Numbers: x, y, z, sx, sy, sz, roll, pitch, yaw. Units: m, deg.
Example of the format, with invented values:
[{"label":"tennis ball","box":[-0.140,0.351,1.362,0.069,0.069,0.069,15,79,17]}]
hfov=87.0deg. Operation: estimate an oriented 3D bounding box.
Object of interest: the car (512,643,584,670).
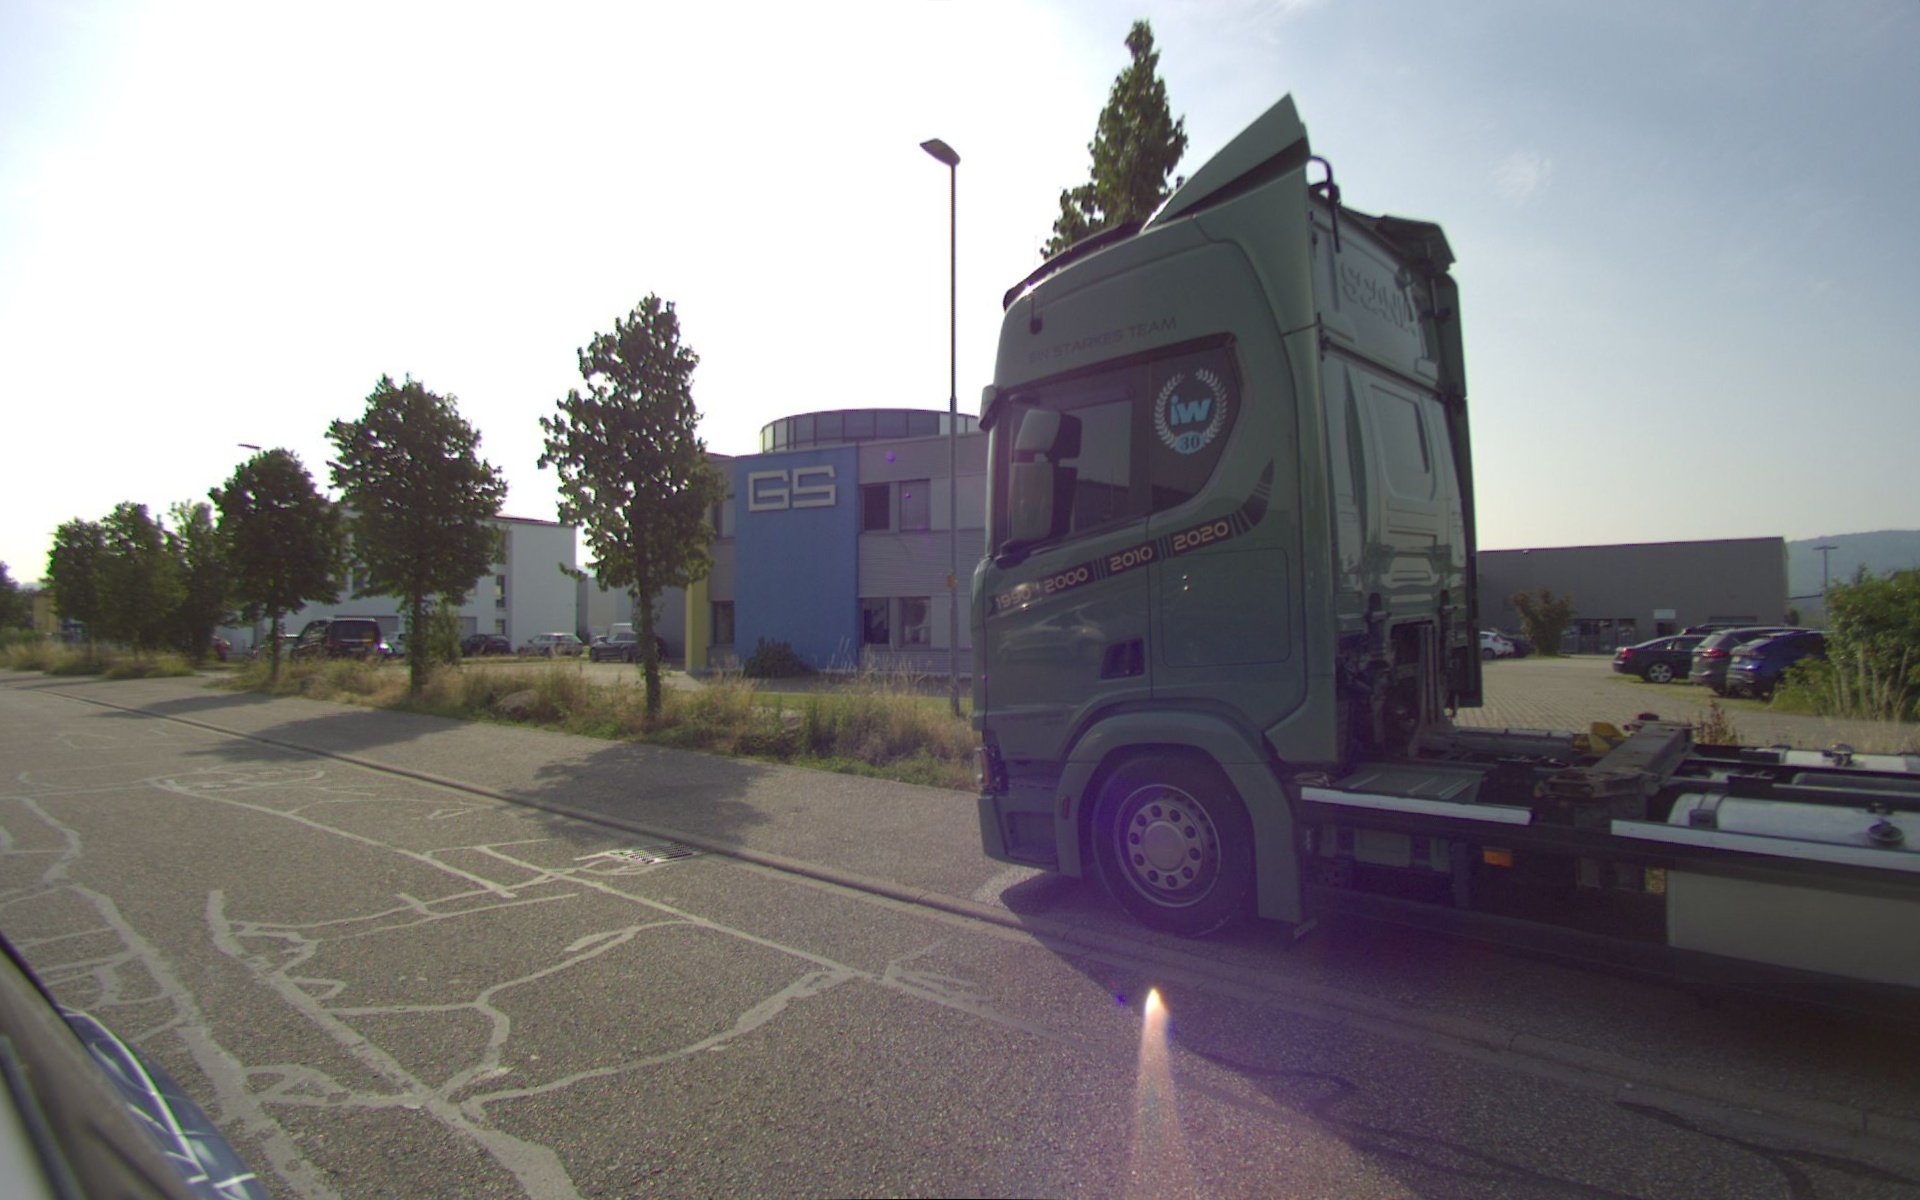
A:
[{"label":"car","box":[-22.542,3.059,55.337,4.375,1.383,1.716,-2,-3,37]}]

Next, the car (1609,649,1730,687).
[{"label":"car","box":[20.020,1.893,28.664,2.705,1.002,1.078,-1,-3,32]}]

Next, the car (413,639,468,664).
[{"label":"car","box":[-32.027,3.186,62.361,3.917,1.479,1.736,-3,-3,42]}]

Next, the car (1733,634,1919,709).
[{"label":"car","box":[17.258,1.379,20.056,2.842,1.399,1.182,-1,-2,24]}]

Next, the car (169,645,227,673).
[{"label":"car","box":[-40.150,3.081,53.306,3.917,1.420,1.736,-3,-3,42]}]

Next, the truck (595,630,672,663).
[{"label":"truck","box":[-19.463,2.759,60.196,4.946,1.918,1.974,-2,-3,38]}]

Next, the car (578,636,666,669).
[{"label":"car","box":[-15.901,2.457,47.468,4.778,1.472,1.697,-3,-3,41]}]

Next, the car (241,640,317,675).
[{"label":"car","box":[-30.680,2.573,45.578,3.913,1.460,1.768,-2,-3,39]}]

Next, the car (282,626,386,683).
[{"label":"car","box":[-23.478,2.041,37.900,4.987,2.029,1.862,-3,-4,41]}]

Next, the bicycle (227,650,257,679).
[{"label":"bicycle","box":[-25.724,2.305,36.251,1.871,0.986,0.534,-3,-3,45]}]

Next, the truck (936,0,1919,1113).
[{"label":"truck","box":[4.330,-0.441,3.353,9.800,3.911,2.429,-1,-1,42]}]

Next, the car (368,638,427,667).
[{"label":"car","box":[-33.655,3.122,60.502,3.917,1.631,1.885,-3,-3,42]}]

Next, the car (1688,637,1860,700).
[{"label":"car","box":[17.973,1.491,22.459,2.697,1.324,1.182,-1,-2,24]}]

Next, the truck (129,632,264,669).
[{"label":"truck","box":[-64.625,4.362,85.912,2.513,2.855,8.723,-3,-5,40]}]

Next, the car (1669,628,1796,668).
[{"label":"car","box":[33.176,2.036,43.539,4.153,1.625,1.820,-1,-3,44]}]

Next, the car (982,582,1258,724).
[{"label":"car","box":[2.624,0.783,15.691,2.102,1.850,4.655,-2,-3,40]}]

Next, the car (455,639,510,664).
[{"label":"car","box":[-30.207,3.245,63.967,3.917,1.479,1.736,-3,-3,42]}]
